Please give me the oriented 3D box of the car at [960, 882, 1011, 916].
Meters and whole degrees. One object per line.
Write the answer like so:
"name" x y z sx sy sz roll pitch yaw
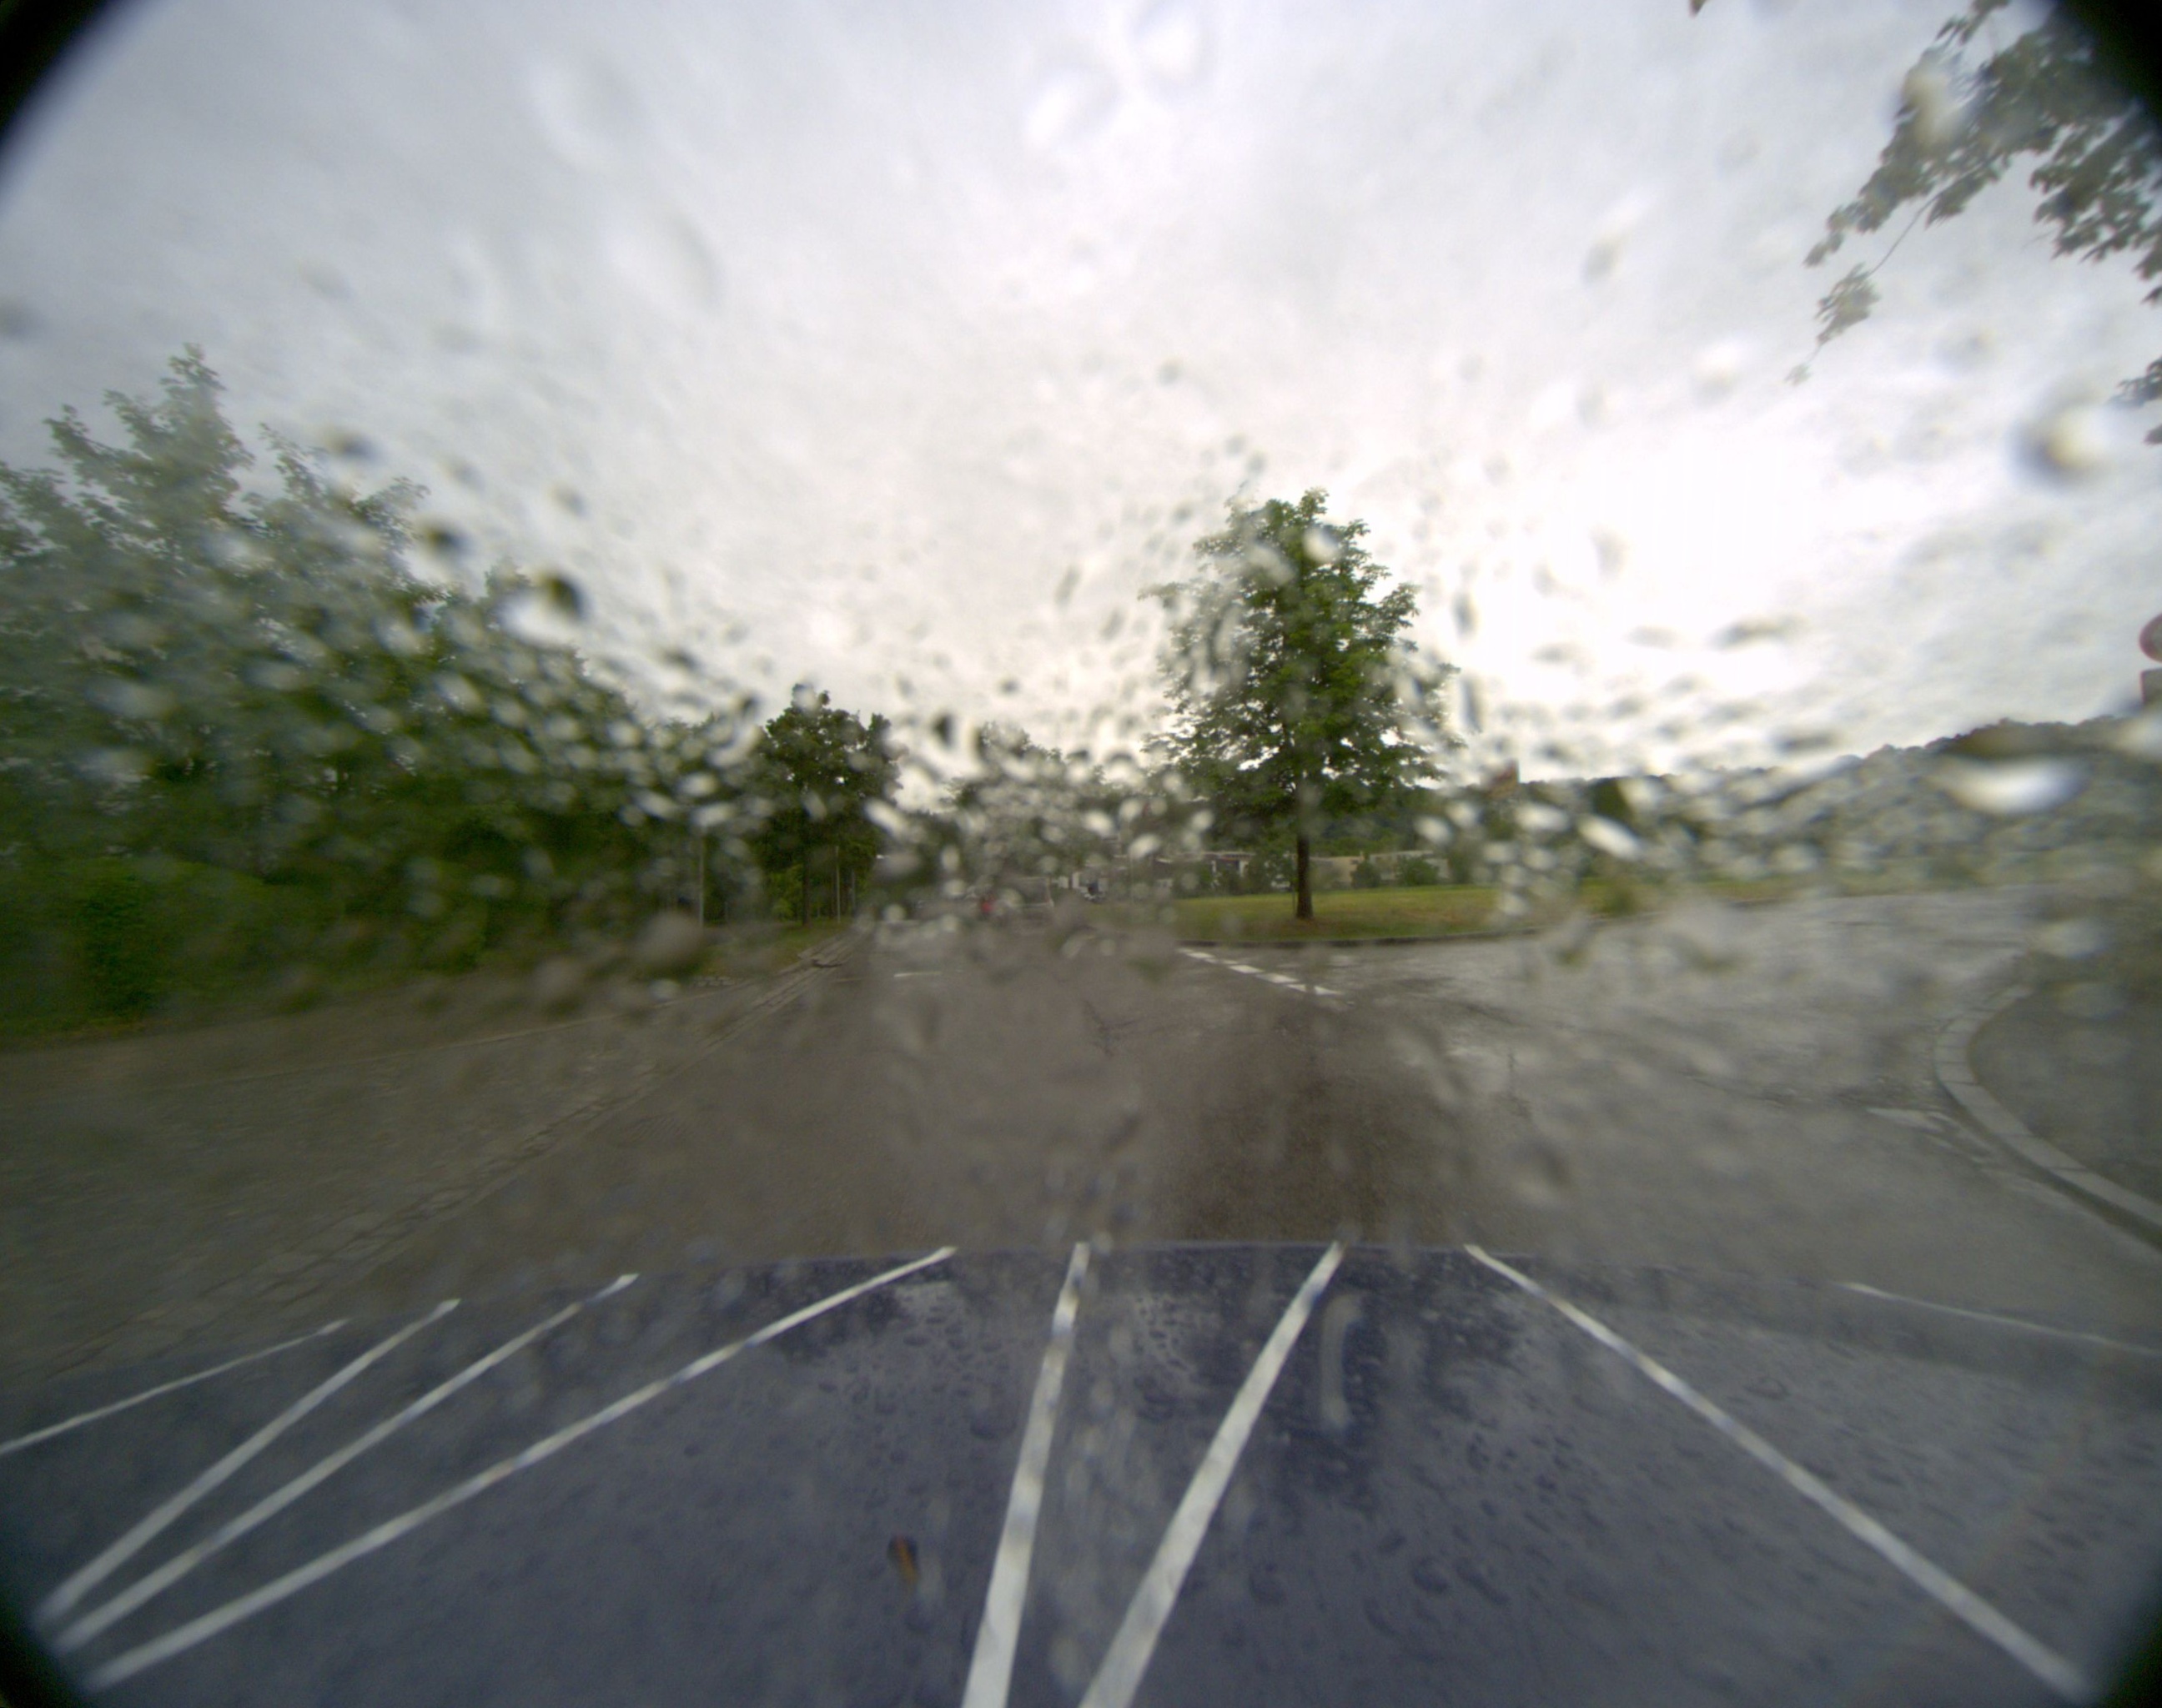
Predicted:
"car" -4.814 2.237 37.744 1.853 1.542 3.986 -2 -3 -17

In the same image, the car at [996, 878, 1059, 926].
"car" -1.911 1.601 26.172 1.680 1.470 3.552 -3 -1 -11

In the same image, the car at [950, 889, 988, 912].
"car" -6.775 2.769 45.875 1.735 1.273 3.325 -2 -2 -17

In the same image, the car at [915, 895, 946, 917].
"car" -12.353 4.241 62.226 1.964 1.596 3.997 -1 -5 -19

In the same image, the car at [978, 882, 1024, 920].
"car" -3.382 1.951 31.755 1.554 1.427 3.010 -3 -2 -12
